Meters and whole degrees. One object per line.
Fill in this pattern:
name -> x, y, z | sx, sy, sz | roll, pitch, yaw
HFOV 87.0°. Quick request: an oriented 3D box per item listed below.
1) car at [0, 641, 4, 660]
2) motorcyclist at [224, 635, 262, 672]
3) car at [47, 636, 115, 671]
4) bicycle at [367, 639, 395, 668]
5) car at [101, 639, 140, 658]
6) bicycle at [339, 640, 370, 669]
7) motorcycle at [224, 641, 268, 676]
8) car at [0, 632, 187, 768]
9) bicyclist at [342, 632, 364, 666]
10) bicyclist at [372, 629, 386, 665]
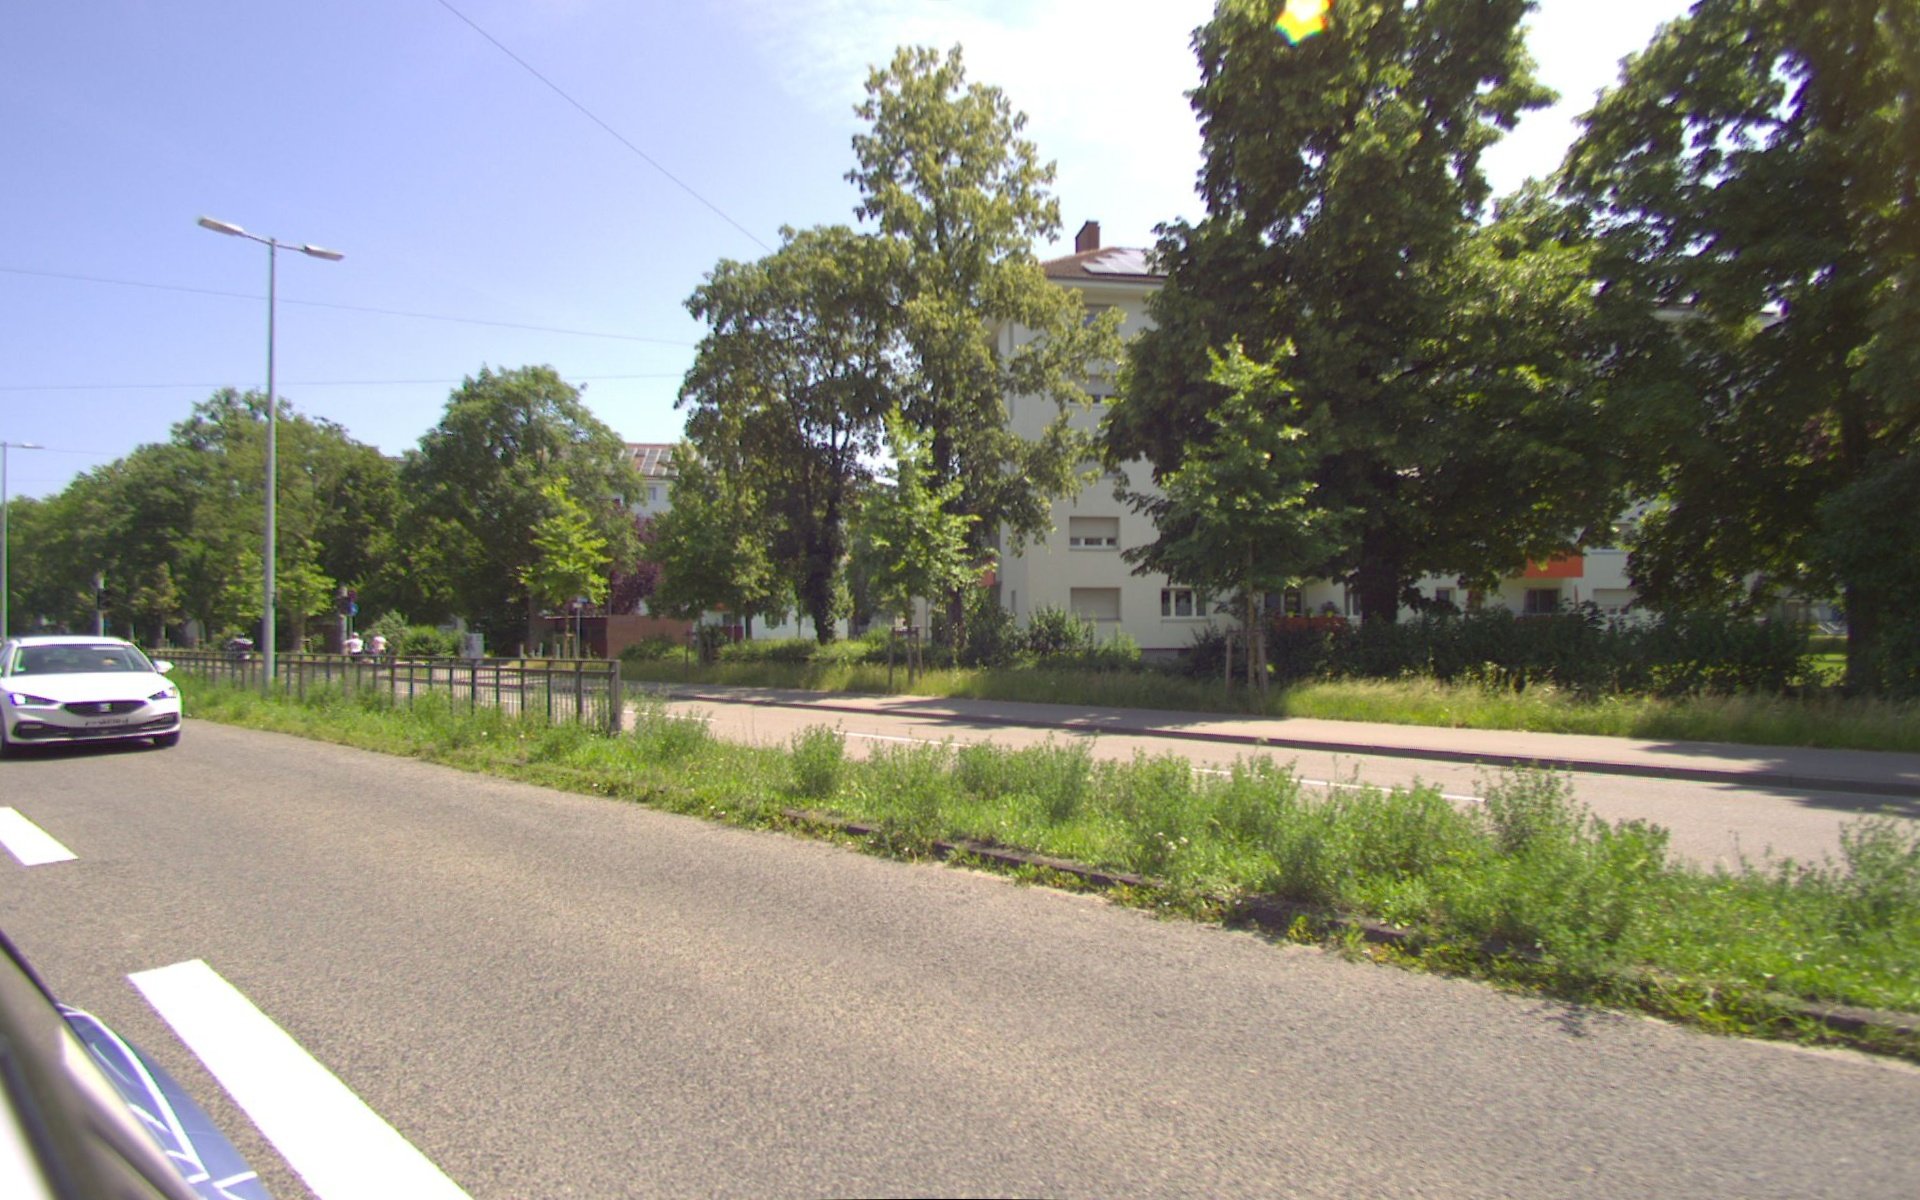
car -> -83.315, 4.288, 86.439 | 4.342, 1.584, 1.803 | -2, -3, 39
motorcyclist -> -28.398, 2.101, 40.086 | 1.509, 1.414, 0.730 | -2, -3, 35
car -> -40.281, 2.433, 46.357 | 4.158, 1.555, 1.738 | -2, -3, 40
bicycle -> -23.107, 2.136, 40.398 | 1.379, 1.103, 0.548 | -1, 0, 42
car -> -73.877, 4.280, 89.029 | 3.998, 1.597, 1.973 | -2, -3, 41
bicycle -> -23.877, 2.146, 39.906 | 1.614, 1.142, 0.582 | -2, -3, 41
motorcycle -> -28.223, 2.295, 40.002 | 2.392, 1.309, 0.797 | -2, -3, 40
car -> -11.873, 1.204, 13.428 | 4.108, 1.479, 1.750 | -2, -1, 40
bicyclist -> -23.996, 1.936, 40.016 | 0.755, 1.356, 0.539 | -2, -3, 40
bicyclist -> -23.271, 1.889, 40.547 | 0.440, 1.402, 0.353 | -2, -1, 43
